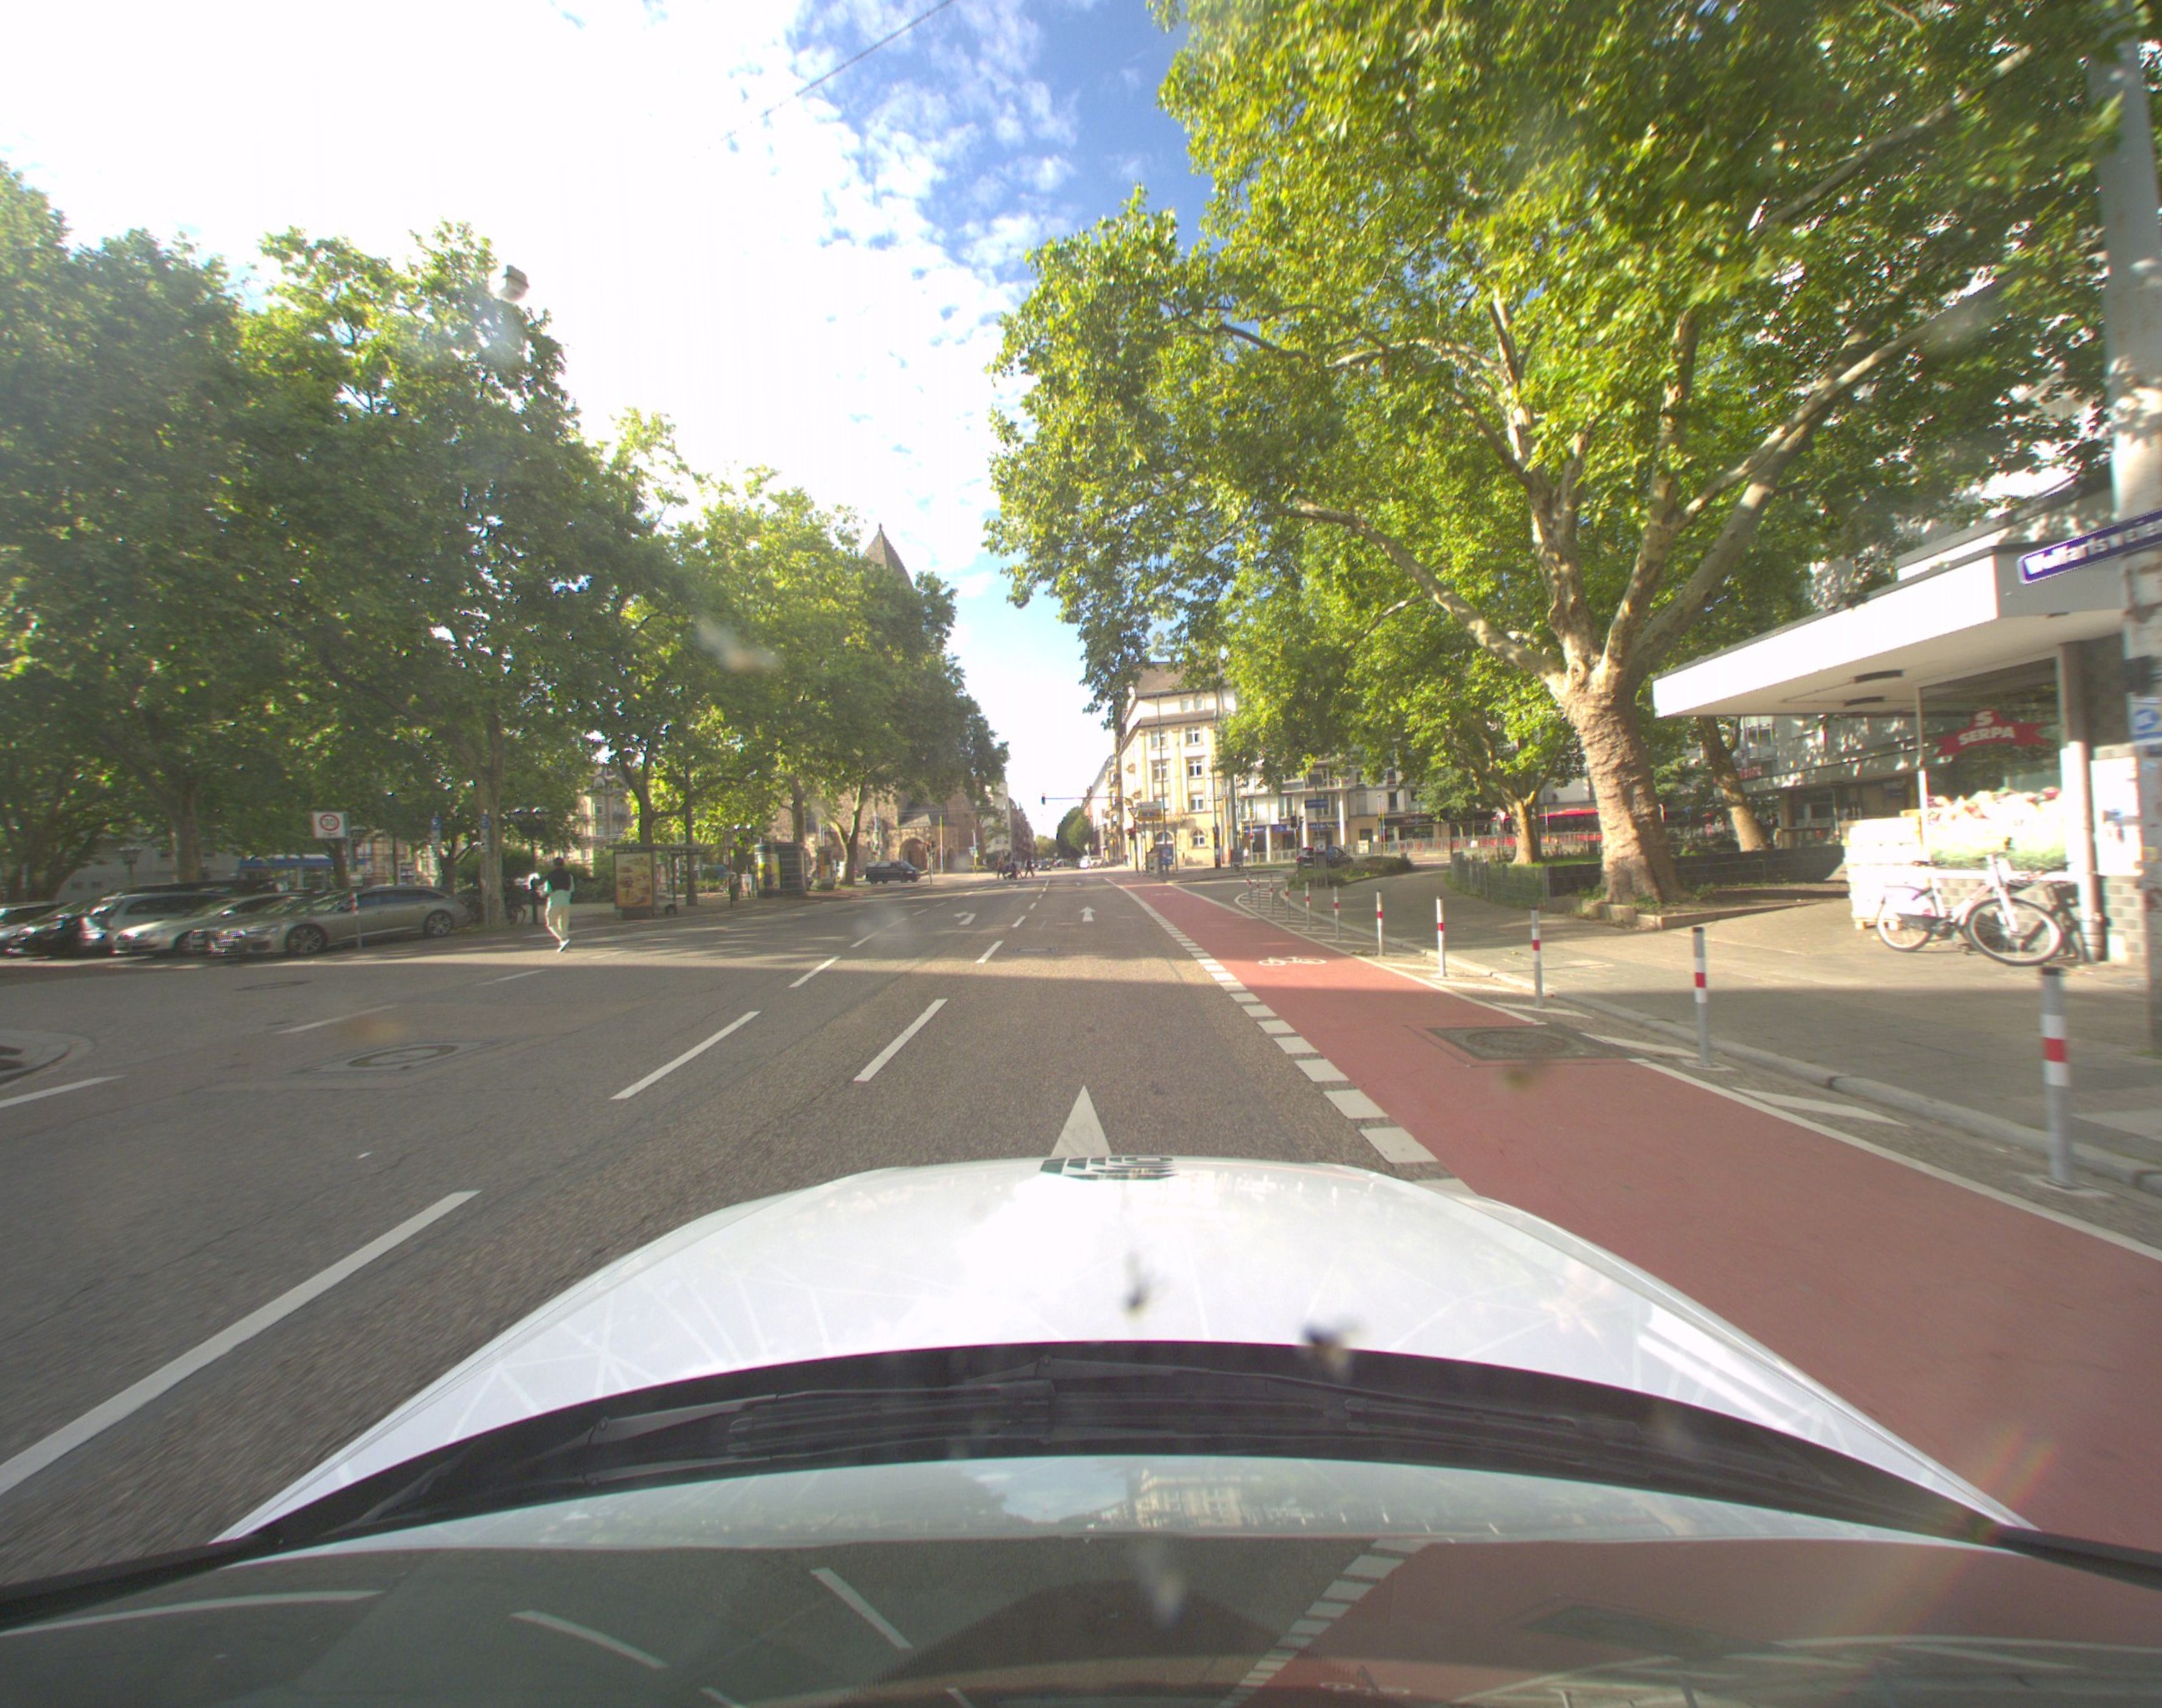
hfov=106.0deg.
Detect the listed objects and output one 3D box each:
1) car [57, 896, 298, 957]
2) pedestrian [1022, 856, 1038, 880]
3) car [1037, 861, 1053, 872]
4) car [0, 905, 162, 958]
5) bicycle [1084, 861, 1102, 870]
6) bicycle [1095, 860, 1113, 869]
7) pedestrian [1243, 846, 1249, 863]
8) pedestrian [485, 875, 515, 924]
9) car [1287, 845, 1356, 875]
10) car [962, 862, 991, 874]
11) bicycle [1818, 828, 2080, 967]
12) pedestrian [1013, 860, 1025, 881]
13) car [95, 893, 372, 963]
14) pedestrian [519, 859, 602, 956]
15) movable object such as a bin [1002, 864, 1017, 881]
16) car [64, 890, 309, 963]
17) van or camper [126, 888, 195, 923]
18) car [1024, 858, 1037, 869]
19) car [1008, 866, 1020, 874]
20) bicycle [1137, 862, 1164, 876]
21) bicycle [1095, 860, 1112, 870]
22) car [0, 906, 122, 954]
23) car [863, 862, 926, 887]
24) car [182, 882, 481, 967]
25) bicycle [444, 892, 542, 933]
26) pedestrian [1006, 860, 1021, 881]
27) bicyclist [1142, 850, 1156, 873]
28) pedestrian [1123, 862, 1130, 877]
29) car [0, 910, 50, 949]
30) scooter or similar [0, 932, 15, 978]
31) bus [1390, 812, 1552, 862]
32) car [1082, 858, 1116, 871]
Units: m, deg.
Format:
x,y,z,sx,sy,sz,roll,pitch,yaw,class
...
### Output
x,y,z,sx,sy,sz,roll,pitch,yaw,class
-26.790,2.105,24.379,1.838,1.377,4.410,-3,0,20,car
-3.636,0.998,57.770,0.774,1.662,0.783,-3,0,21,pedestrian
-4.819,1.649,109.572,1.944,1.372,3.997,-3,0,-2,car
-34.075,2.566,26.965,1.838,1.377,4.410,-3,0,20,car
1.488,1.409,99.574,2.024,1.082,0.618,-3,0,-12,bicycle
2.823,1.302,99.673,2.024,1.082,0.618,-3,0,-12,bicycle
17.030,0.055,83.809,0.491,1.714,0.530,-1,-1,23,pedestrian
-20.767,1.616,29.118,0.499,1.715,0.706,-3,-1,0,pedestrian
12.938,0.309,43.705,4.023,1.413,1.736,-2,0,-44,car
-16.138,2.183,125.473,4.021,1.596,1.847,-3,0,-41,car
8.799,0.413,8.399,0.709,1.206,1.817,-6,-1,4,bicycle
-4.356,1.129,57.056,0.649,1.432,0.501,-3,-1,21,pedestrian
-22.463,1.913,21.922,1.653,1.377,4.863,-3,0,20,car
-9.930,0.996,15.583,1.076,1.753,0.914,-1,-1,-15,pedestrian
-5.092,1.320,57.928,0.830,1.123,0.578,-3,-1,21,movable object such as a bin
-25.046,1.965,23.043,1.664,1.616,4.299,-3,0,20,car
-67.752,3.810,59.934,4.436,2.328,2.124,-3,0,25,van or camper
-8.773,1.669,141.971,1.944,1.750,3.997,-3,-1,-2,car
-11.084,2.689,135.067,1.545,1.230,3.588,-2,0,1,car
5.026,1.068,58.887,1.813,0.955,0.576,-3,-1,24,bicycle
2.770,1.346,100.355,2.024,1.082,0.628,-3,0,-12,bicycle
-36.343,2.645,27.691,1.838,1.377,4.410,-3,0,20,car
-15.962,1.756,69.888,4.804,1.871,2.041,-3,0,18,car
-18.106,1.623,20.108,2.218,1.585,4.992,-3,0,13,car
-18.771,1.854,26.059,1.377,1.209,2.113,-3,-3,22,bicycle
-4.673,1.126,56.496,0.774,1.432,0.735,-3,0,21,pedestrian
4.931,0.532,58.939,0.771,1.579,0.629,-3,-1,24,bicyclist
5.139,1.773,92.034,0.557,1.623,0.603,-3,-1,20,pedestrian
-41.227,2.894,29.491,1.838,1.377,4.410,-3,0,20,car
-22.414,2.076,16.412,1.003,0.923,0.812,-3,-1,17,scooter or similar
33.106,-1.374,69.795,12.156,3.548,3.045,-3,0,21,bus
2.225,1.353,102.016,3.981,1.420,1.996,-3,-1,-5,car
